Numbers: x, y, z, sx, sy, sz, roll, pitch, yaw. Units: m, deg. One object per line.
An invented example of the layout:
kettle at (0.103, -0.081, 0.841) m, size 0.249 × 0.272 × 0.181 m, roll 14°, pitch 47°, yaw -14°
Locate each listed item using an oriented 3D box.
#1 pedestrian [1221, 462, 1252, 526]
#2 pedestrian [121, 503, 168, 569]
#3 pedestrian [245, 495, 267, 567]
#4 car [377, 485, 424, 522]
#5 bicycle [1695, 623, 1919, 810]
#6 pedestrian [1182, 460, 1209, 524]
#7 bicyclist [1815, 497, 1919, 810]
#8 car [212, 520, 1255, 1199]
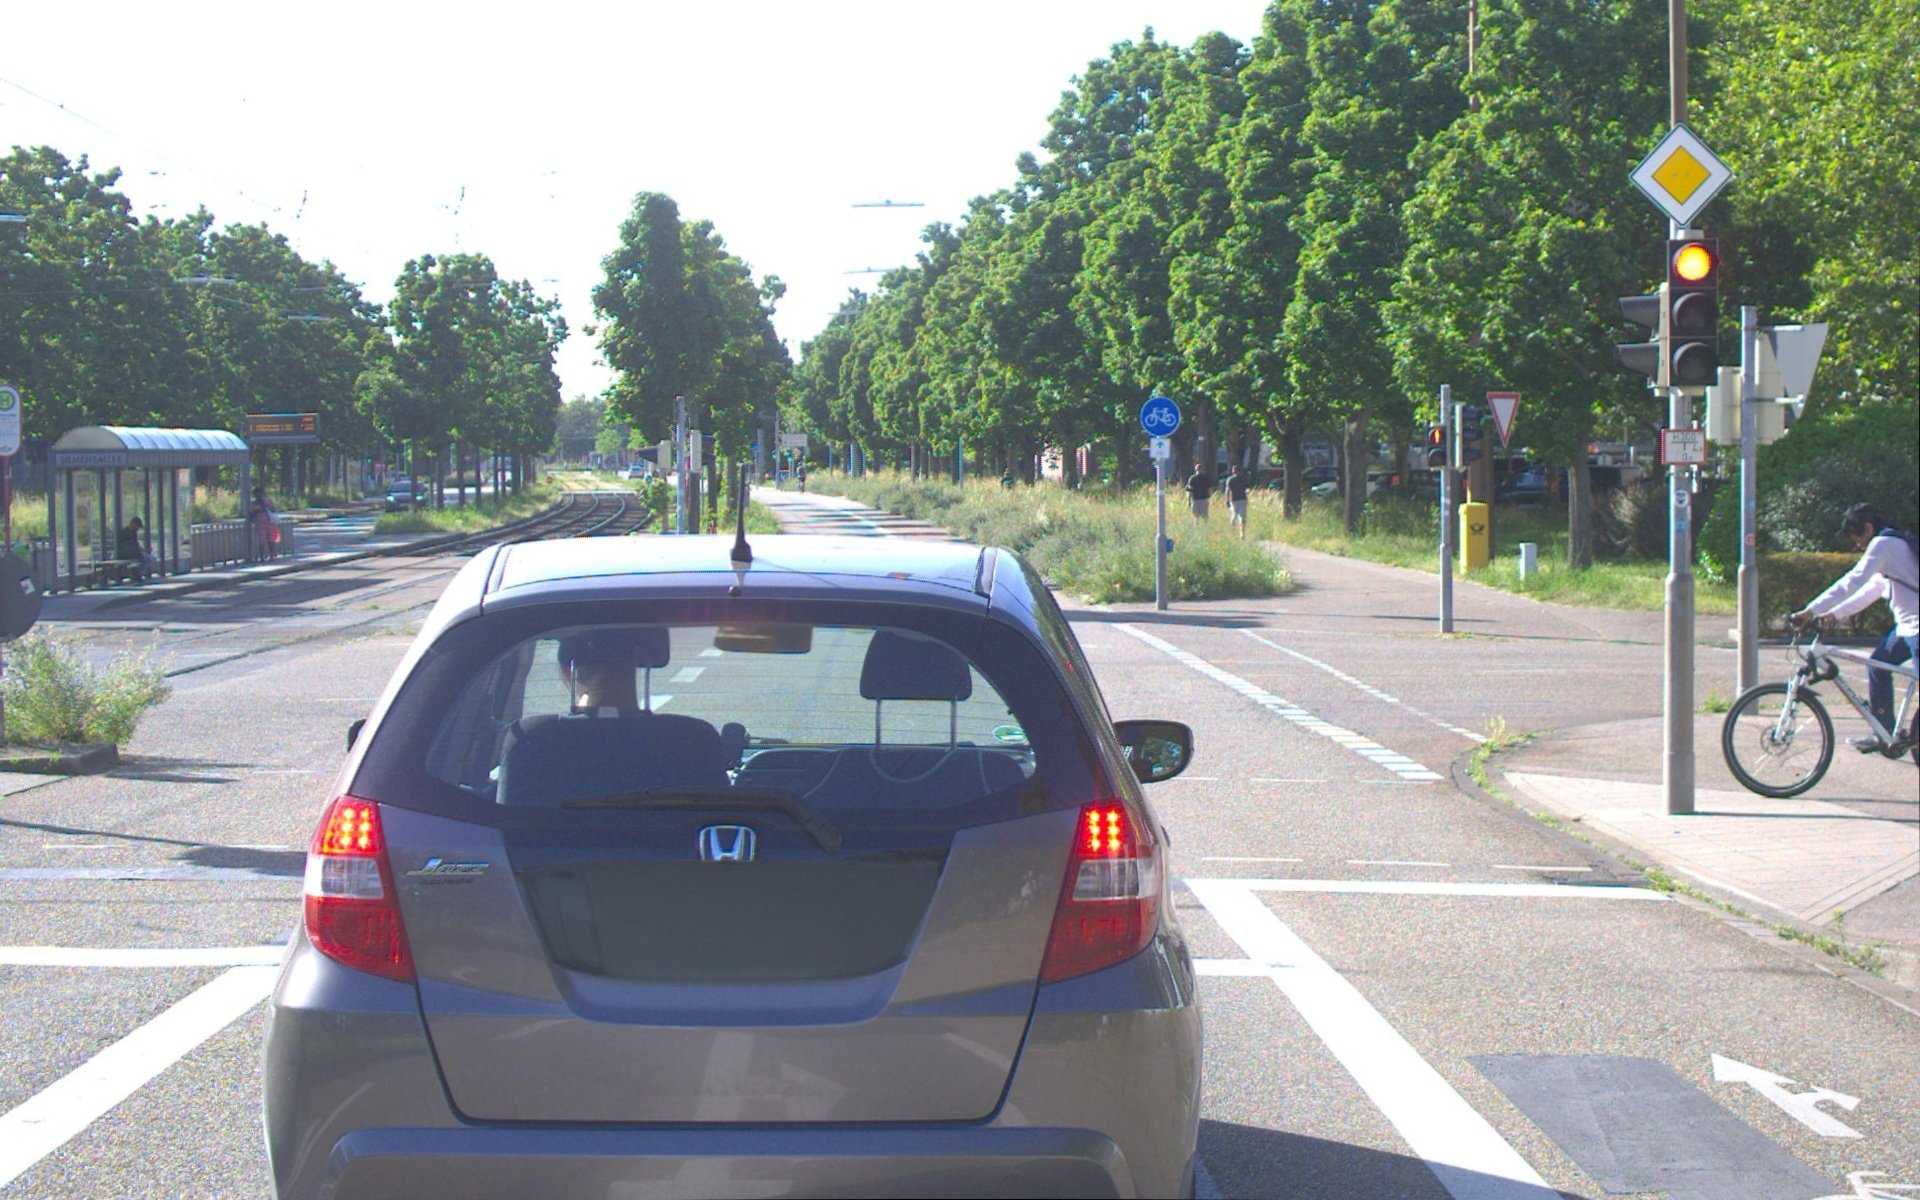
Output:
pedestrian at (6.978, -2.666, 86.748) m, size 0.678 × 1.604 × 0.721 m, roll 1°, pitch 1°, yaw -3°
pedestrian at (-15.568, -1.231, 65.629) m, size 0.721 × 1.241 × 0.711 m, roll -1°, pitch 1°, yaw -2°
pedestrian at (-16.428, -1.609, 80.196) m, size 0.502 × 1.670 × 0.388 m, roll 0°, pitch 1°, yaw -12°
car at (-26.490, -4.564, 162.899) m, size 1.766 × 1.732 × 4.001 m, roll 0°, pitch 1°, yaw -3°
bicycle at (5.186, 0.660, 19.546) m, size 1.921 × 0.994 × 0.764 m, roll 1°, pitch 1°, yaw 10°
pedestrian at (5.939, -2.713, 86.719) m, size 0.567 × 1.591 × 0.666 m, roll 1°, pitch 1°, yaw -4°
bicyclist at (5.367, 0.289, 19.515) m, size 0.910 × 1.739 × 0.764 m, roll -1°, pitch 1°, yaw 10°
car at (-0.376, 0.589, 7.666) m, size 1.707 × 1.503 × 4.000 m, roll 1°, pitch 1°, yaw 0°
